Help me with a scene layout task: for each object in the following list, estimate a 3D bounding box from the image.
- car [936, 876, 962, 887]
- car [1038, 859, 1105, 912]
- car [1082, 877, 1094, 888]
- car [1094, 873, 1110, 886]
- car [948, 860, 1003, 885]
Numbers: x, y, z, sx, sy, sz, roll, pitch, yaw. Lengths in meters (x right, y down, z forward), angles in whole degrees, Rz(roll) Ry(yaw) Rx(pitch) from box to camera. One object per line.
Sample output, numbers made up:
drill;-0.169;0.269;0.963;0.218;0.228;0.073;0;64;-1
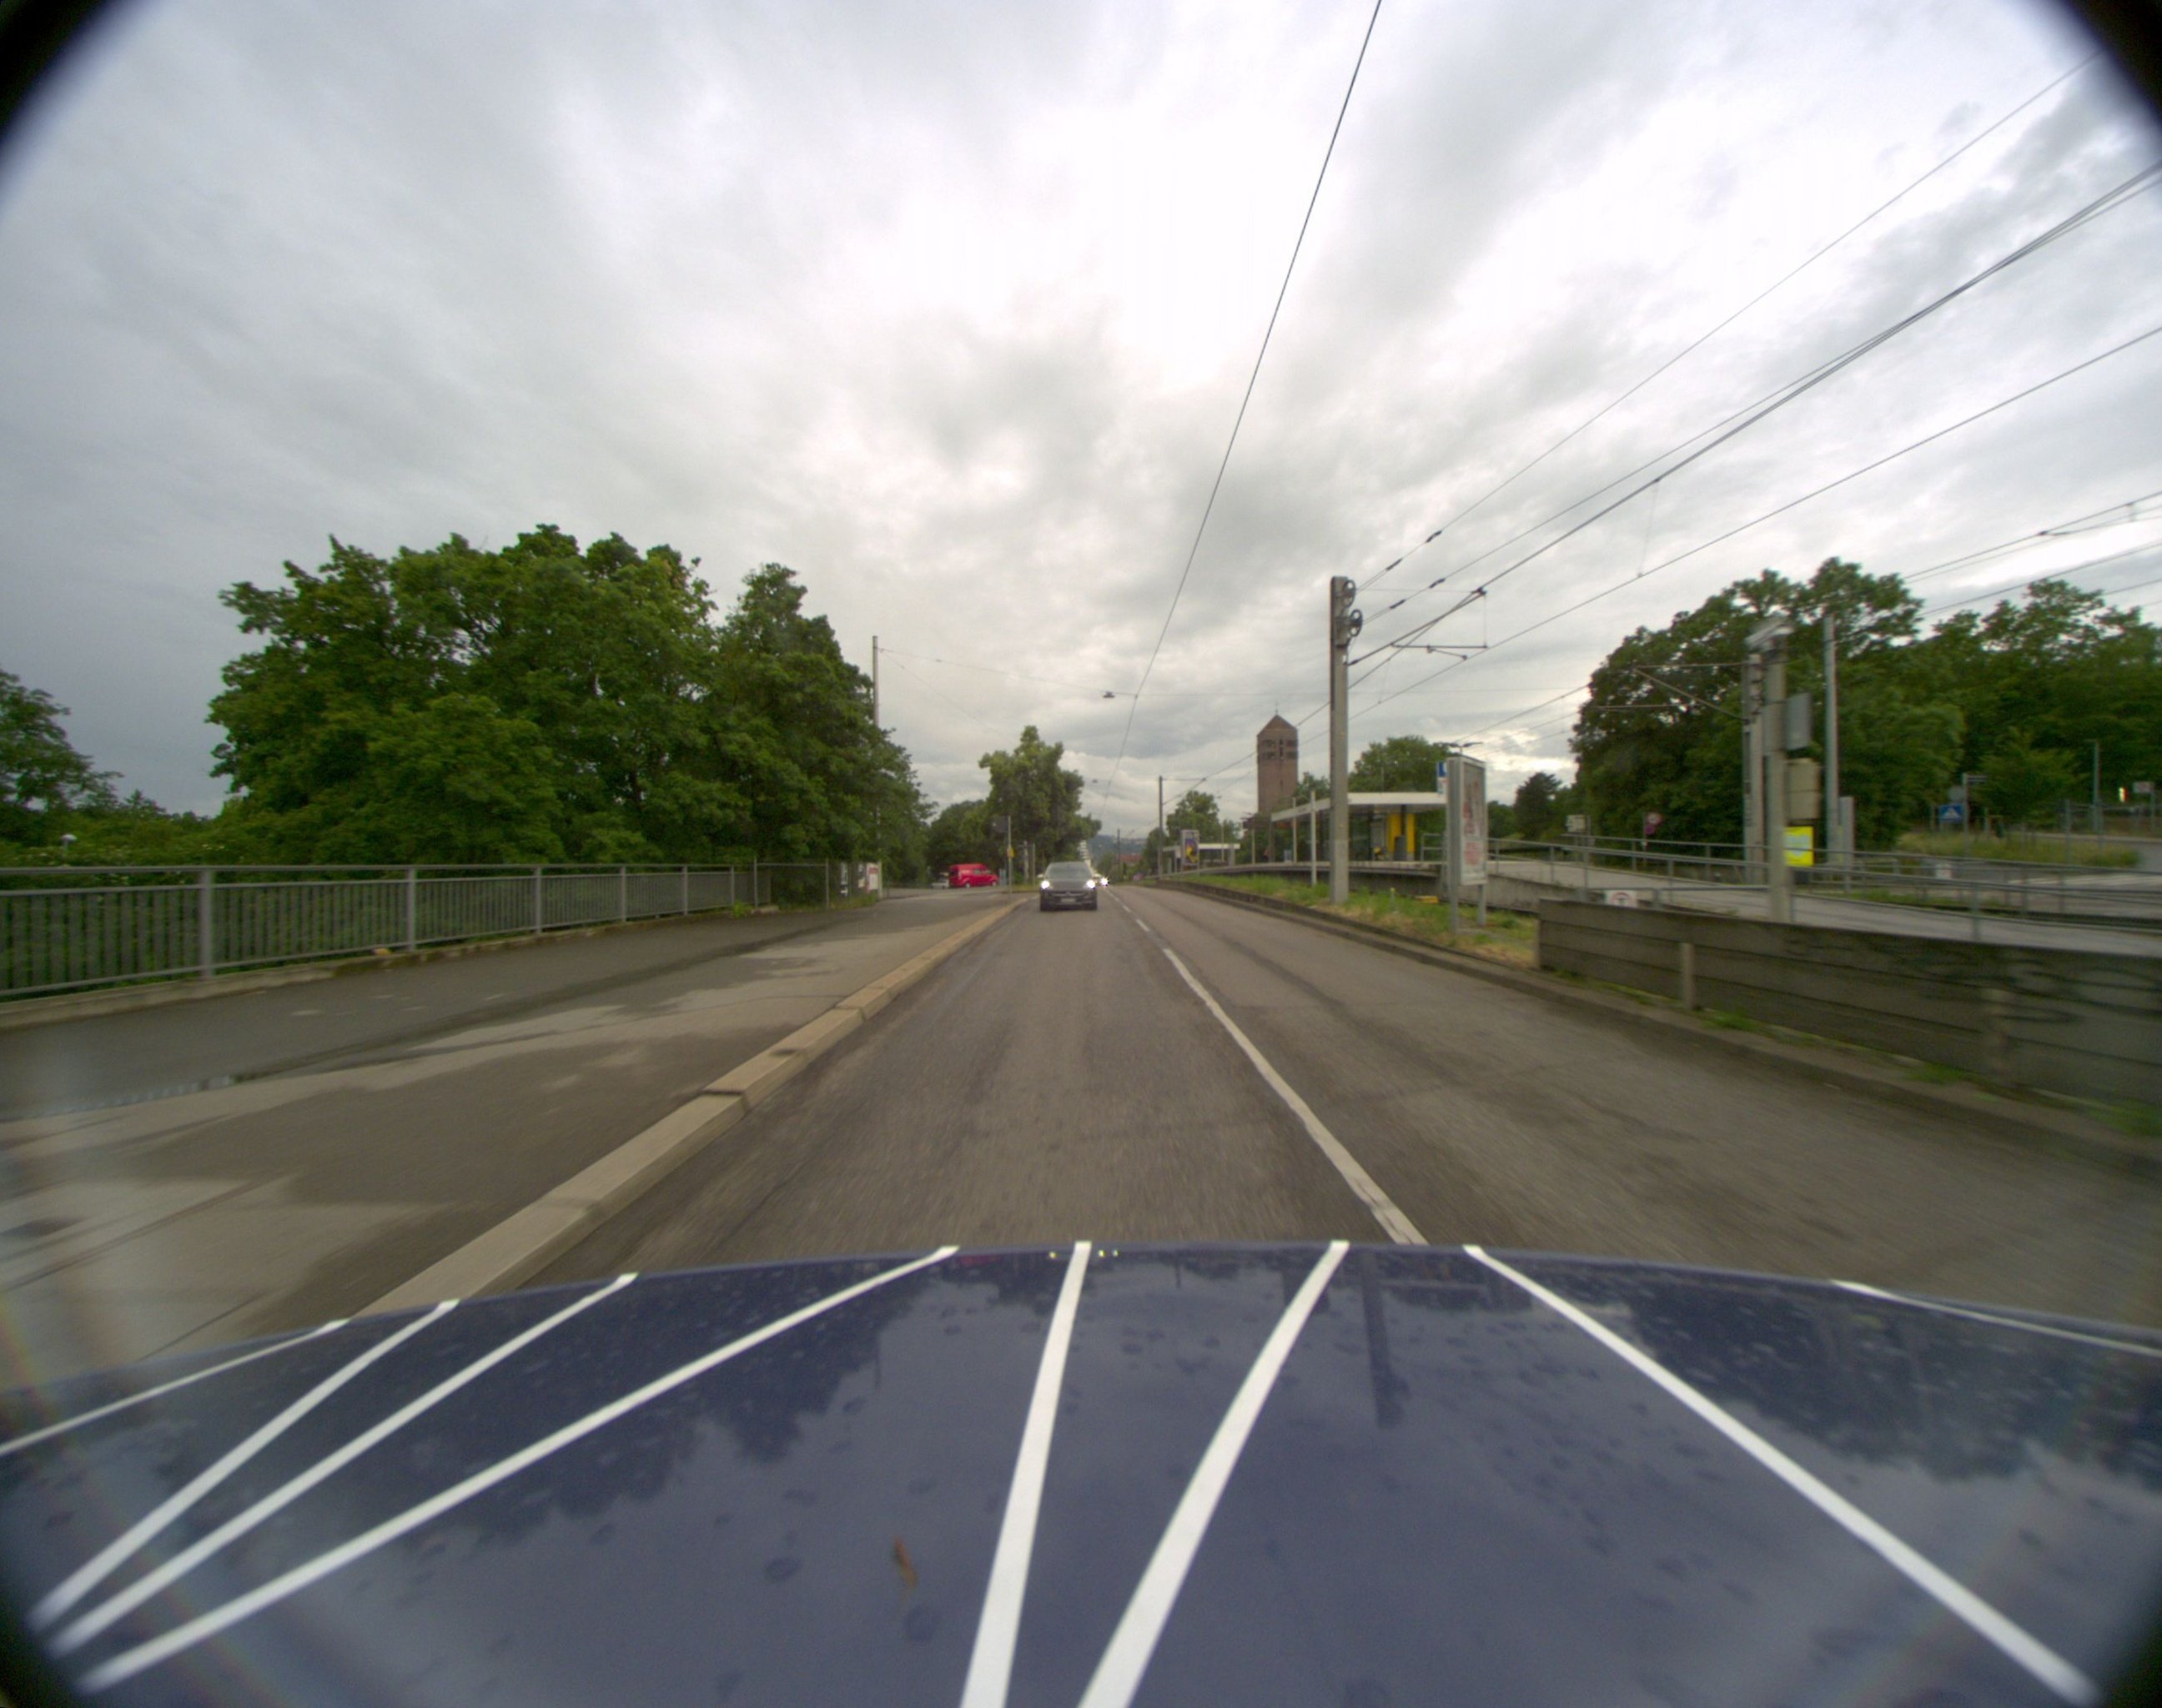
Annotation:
car;-19.198;4.027;110.581;3.793;1.505;1.893;-1;0;45
car;-0.253;0.945;23.961;1.899;1.432;4.474;-2;-1;0
car;1.173;4.516;120.274;1.812;1.566;3.971;-2;0;0
car;2.689;3.251;97.389;1.899;1.432;4.247;-2;-1;0
car;-10.182;1.759;73.427;1.994;2.179;5.041;-2;0;43
